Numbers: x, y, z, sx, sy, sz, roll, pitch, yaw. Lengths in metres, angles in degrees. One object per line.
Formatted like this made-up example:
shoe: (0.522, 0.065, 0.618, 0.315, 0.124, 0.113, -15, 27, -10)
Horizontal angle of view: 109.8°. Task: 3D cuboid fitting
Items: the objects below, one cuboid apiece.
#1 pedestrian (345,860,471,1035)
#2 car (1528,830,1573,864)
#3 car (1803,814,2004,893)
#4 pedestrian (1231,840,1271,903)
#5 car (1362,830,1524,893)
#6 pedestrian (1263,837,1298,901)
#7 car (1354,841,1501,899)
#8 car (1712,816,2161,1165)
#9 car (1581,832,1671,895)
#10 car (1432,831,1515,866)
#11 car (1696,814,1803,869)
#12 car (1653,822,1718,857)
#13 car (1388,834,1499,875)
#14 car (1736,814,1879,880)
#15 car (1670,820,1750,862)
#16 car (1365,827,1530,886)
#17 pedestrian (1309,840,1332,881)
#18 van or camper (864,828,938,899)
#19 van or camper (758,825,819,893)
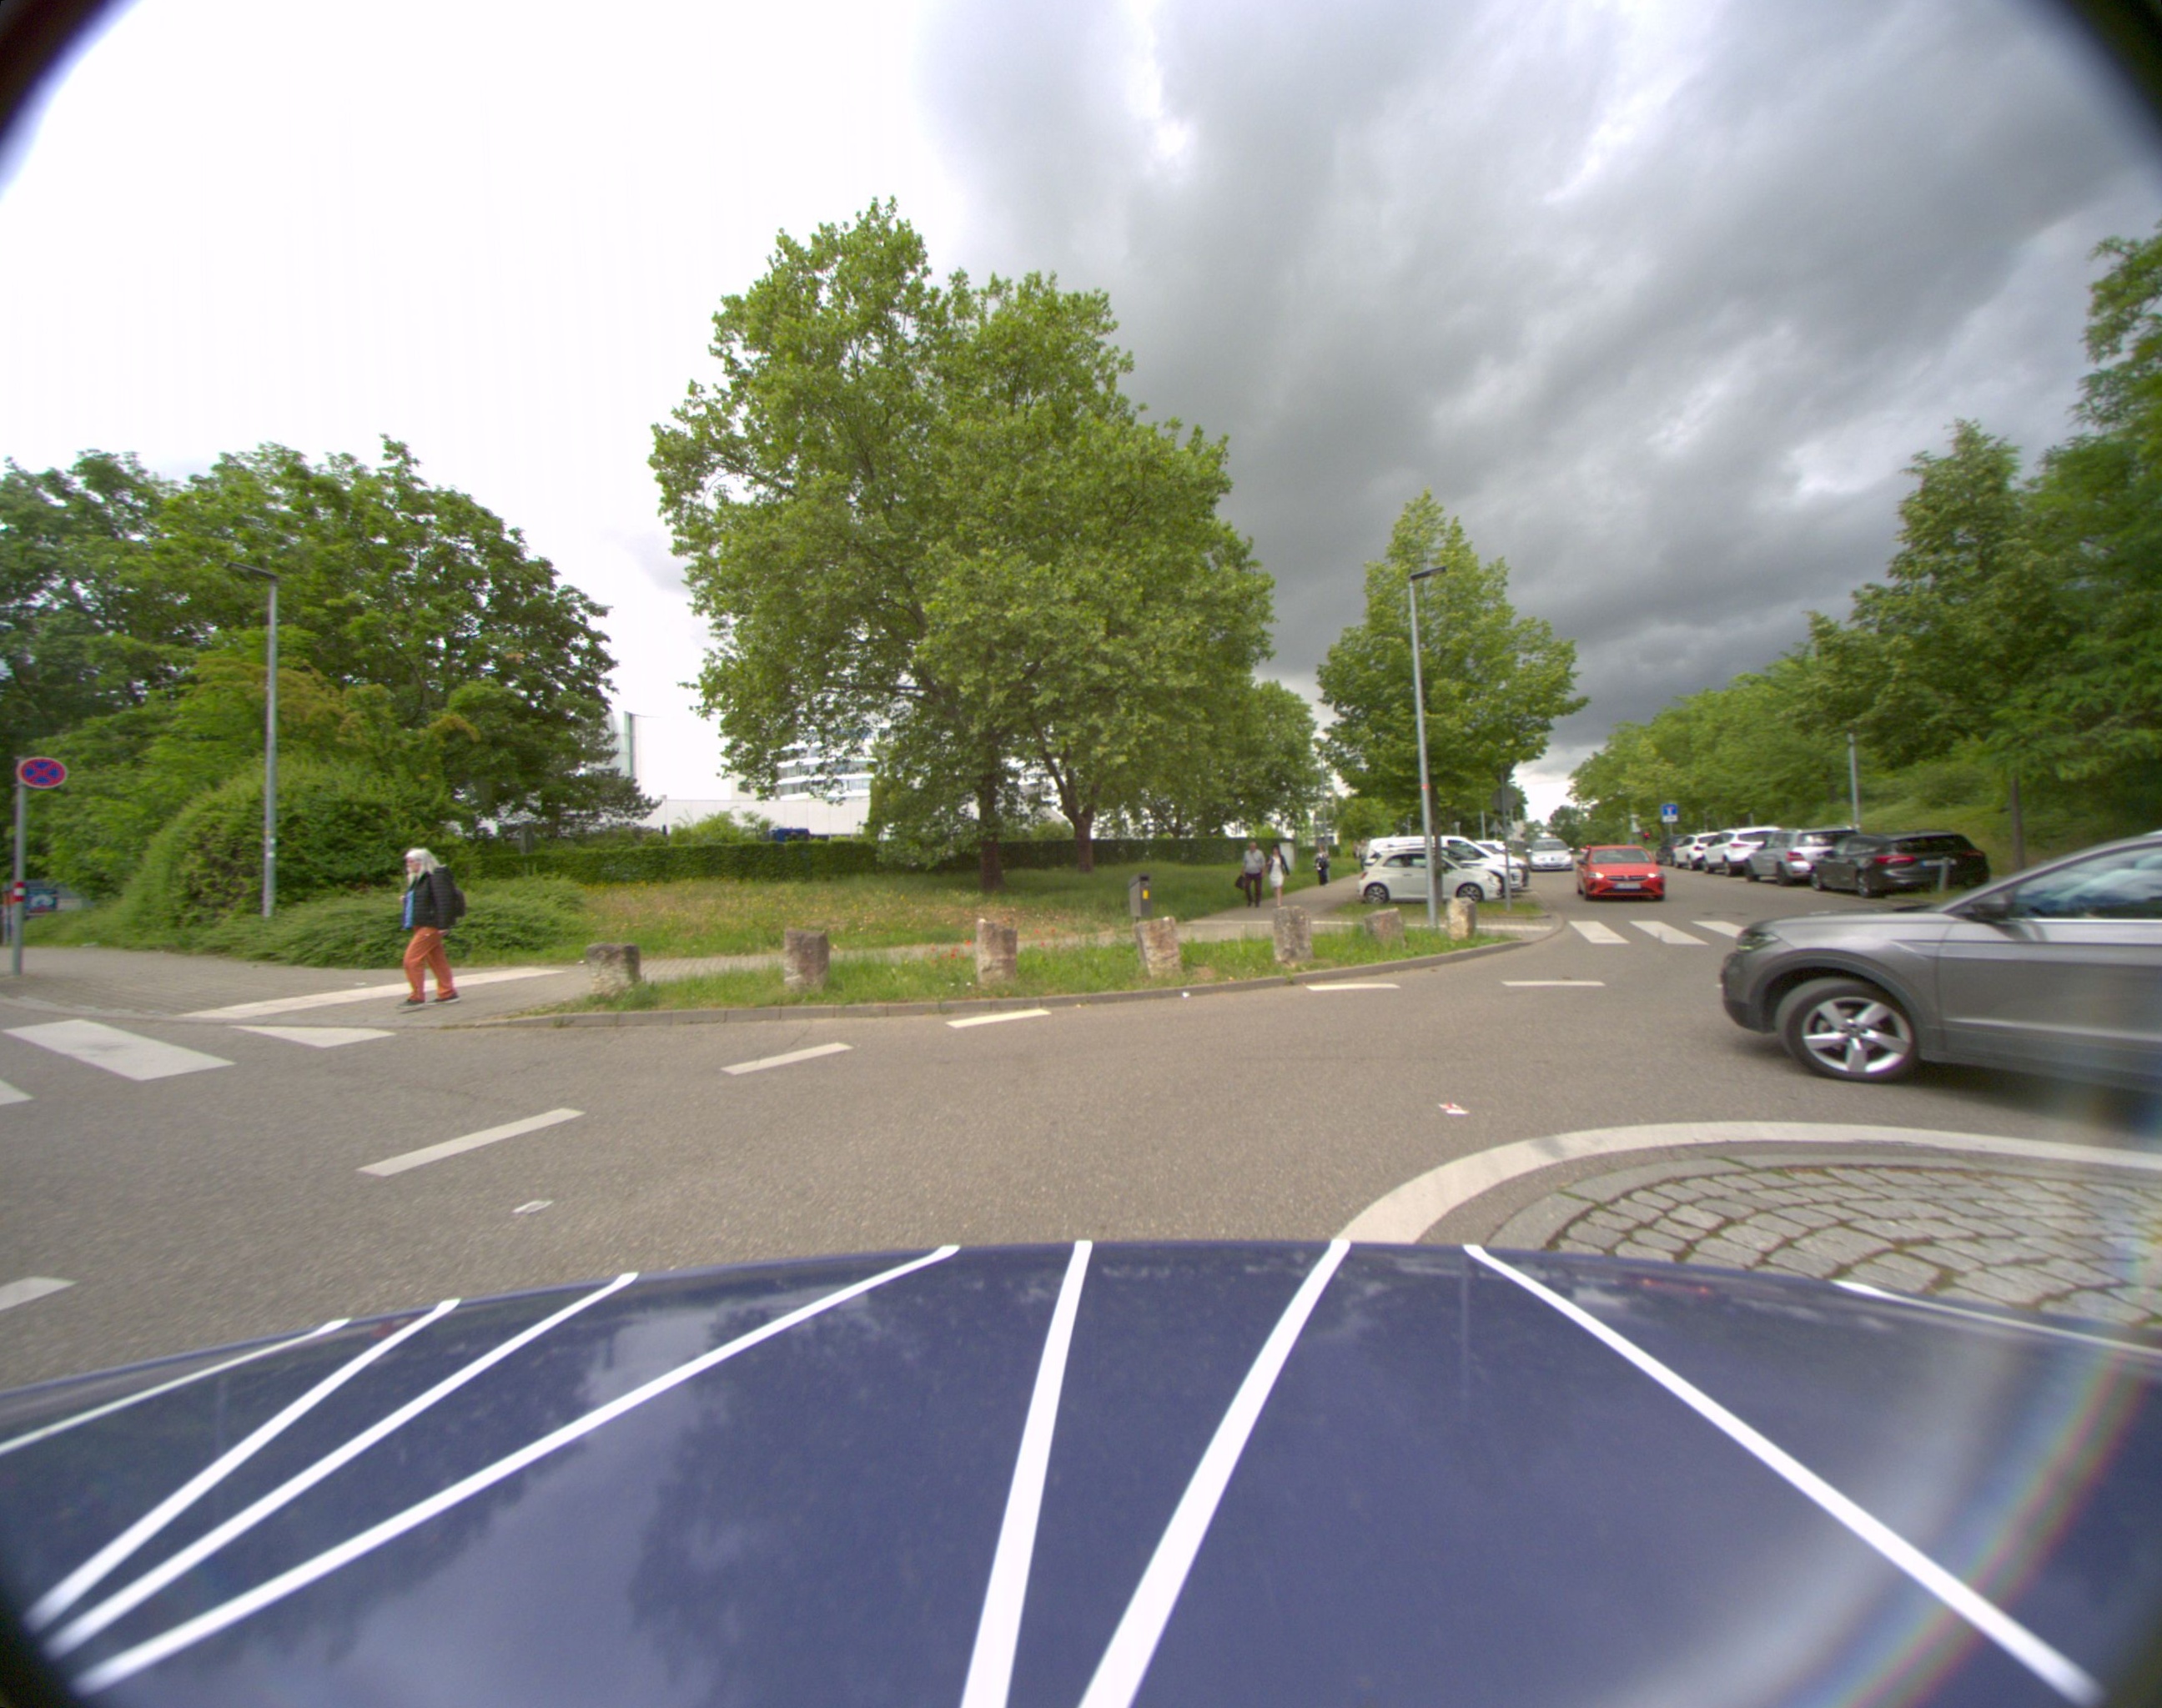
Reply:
pedestrian: (-6.947, 0.916, 7.857, 0.613, 1.656, 0.842, 3, 3, 39)
car: (23.278, -0.353, 37.615, 1.755, 1.506, 4.008, -4, -1, 33)
car: (18.817, -0.024, 17.666, 1.691, 1.456, 4.464, -6, -2, 28)
pedestrian: (4.598, 0.465, 20.549, 0.870, 1.647, 0.594, -3, 0, 27)
car: (10.753, 0.248, 22.717, 4.154, 1.592, 1.742, -4, -1, 27)
pedestrian: (5.300, 0.400, 20.199, 0.689, 1.647, 0.601, -3, 0, 27)
car: (9.468, 0.410, 20.802, 3.514, 1.453, 1.742, -1, 1, 28)
car: (5.828, 0.605, 3.641, 1.724, 1.608, 4.003, -2, 1, -18)
car: (14.812, 0.246, 20.828, 1.755, 1.506, 4.008, -4, -2, 33)
car: (20.335, -0.278, 39.382, 3.672, 1.637, 1.855, -1, 0, 30)
car: (24.085, -0.427, 27.564, 1.809, 1.654, 4.444, -6, -2, 28)
car: (29.446, -0.686, 37.124, 1.691, 1.478, 3.960, -6, -2, 29)
car: (14.289, 0.039, 30.029, 3.827, 1.511, 1.915, -1, 1, 27)
car: (21.310, -0.251, 22.531, 1.801, 1.606, 4.485, -6, -1, 28)
car: (26.661, -0.545, 32.347, 1.691, 1.502, 4.238, -6, -2, 28)
car: (12.078, 0.099, 25.180, 4.777, 1.821, 1.846, -1, 1, 29)
pedestrian: (9.255, 0.254, 29.307, 0.677, 1.510, 0.707, -3, 0, 26)
van or camper: (-7.863, 0.429, 32.859, 2.117, 2.781, 4.472, -3, -1, -25)
van or camper: (-13.237, 0.275, 34.203, 2.117, 2.781, 4.472, -3, -1, -25)
